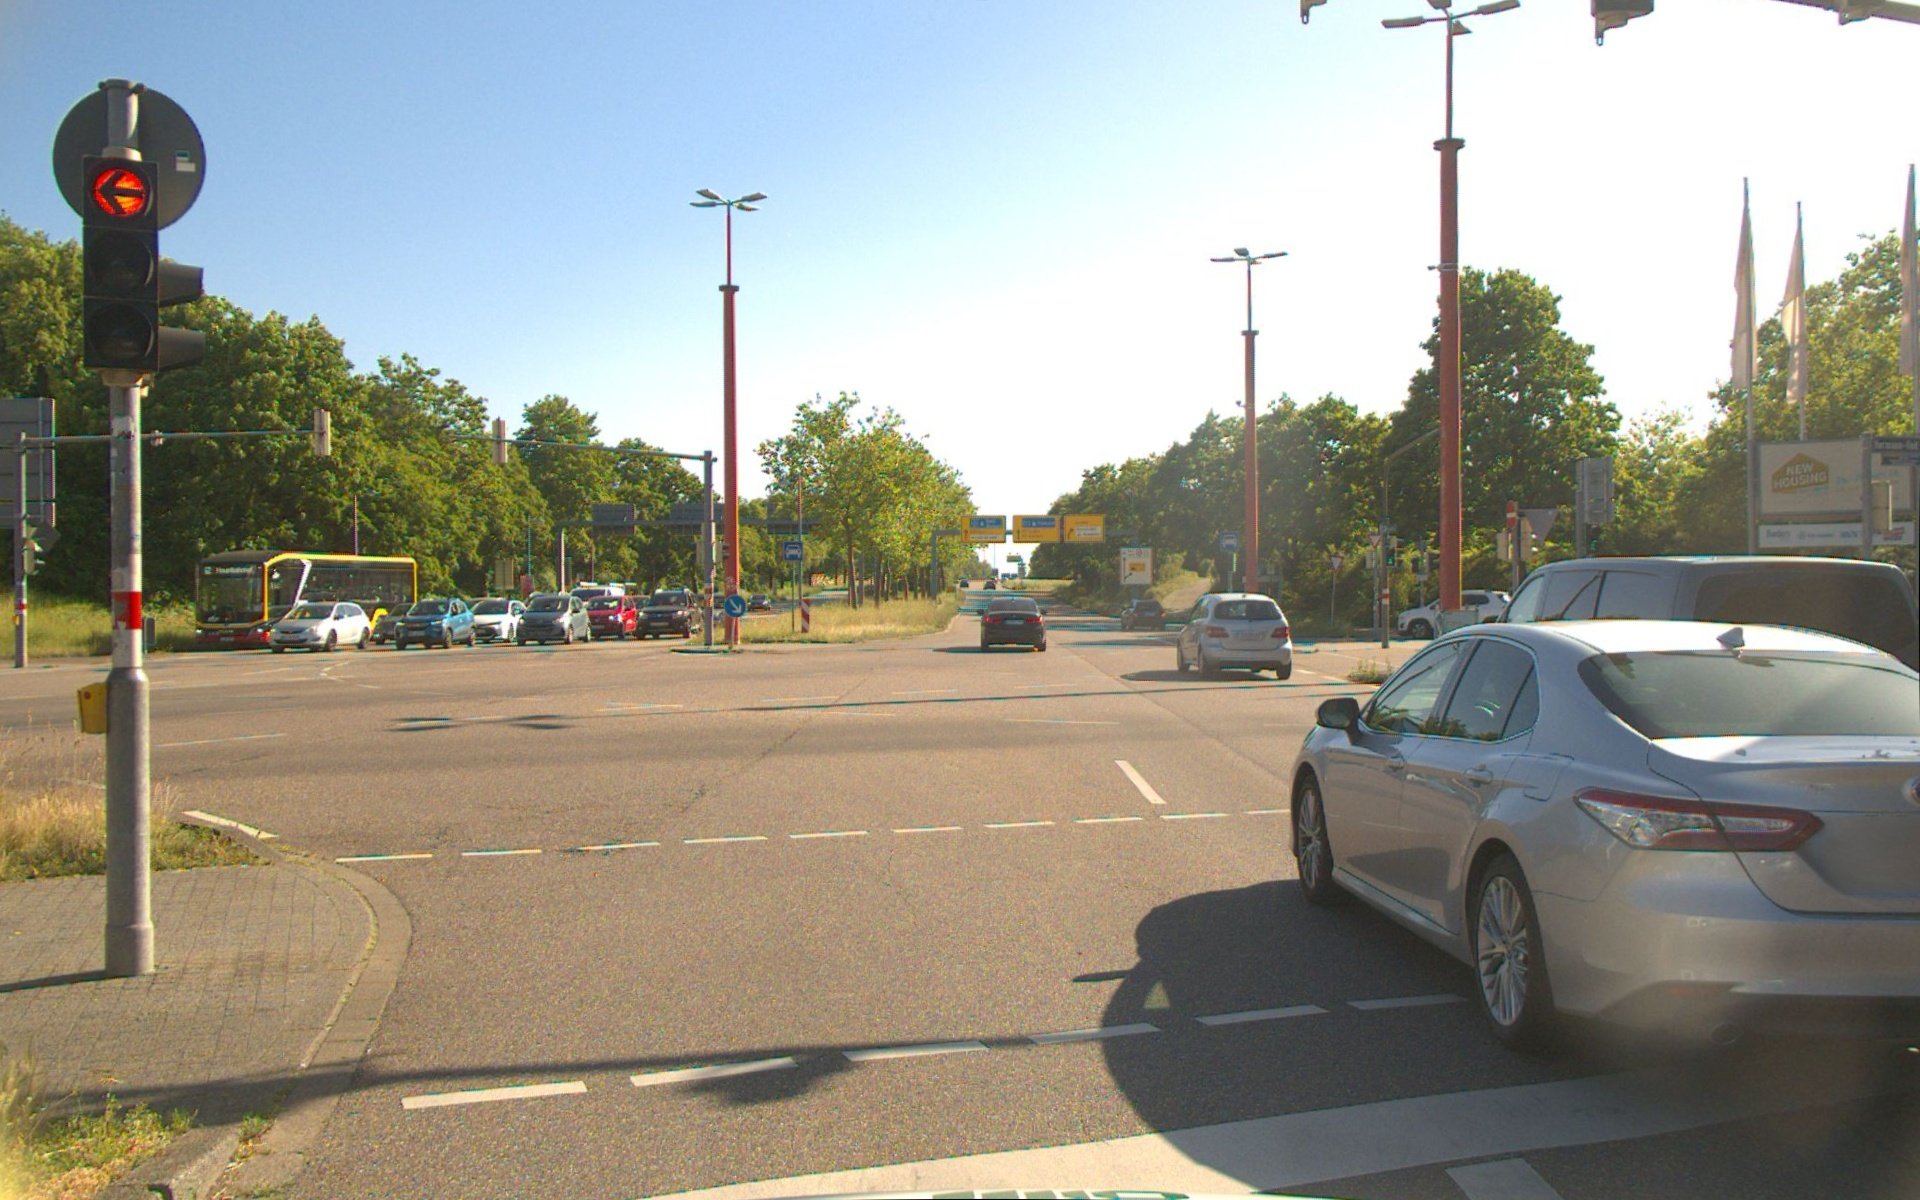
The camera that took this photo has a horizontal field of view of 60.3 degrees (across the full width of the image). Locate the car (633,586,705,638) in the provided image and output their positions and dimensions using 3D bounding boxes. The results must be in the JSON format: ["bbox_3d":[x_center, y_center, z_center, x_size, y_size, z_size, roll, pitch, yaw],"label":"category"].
[{"bbox_3d":[-9.840,0.384,56.203,1.757,1.654,4.142,-2,0,-2],"label":"car"}]

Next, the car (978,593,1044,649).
[{"bbox_3d":[1.386,0.565,46.339,1.728,1.466,4.294,1,0,0],"label":"car"}]

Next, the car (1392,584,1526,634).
[{"bbox_3d":[17.393,0.311,57.679,4.201,1.664,1.767,0,0,27],"label":"car"}]

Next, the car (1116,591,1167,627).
[{"bbox_3d":[8.698,0.439,79.604,1.729,1.664,4.295,1,0,-4],"label":"car"}]

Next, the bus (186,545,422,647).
[{"bbox_3d":[-23.608,-0.097,60.598,2.590,3.318,12.543,1,0,5],"label":"bus"}]

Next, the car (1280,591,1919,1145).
[{"bbox_3d":[2.743,0.741,6.936,1.768,1.519,4.681,1,0,-2],"label":"car"}]

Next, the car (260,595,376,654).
[{"bbox_3d":[-19.544,0.736,50.532,1.838,1.681,4.219,-1,0,0],"label":"car"}]

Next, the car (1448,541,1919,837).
[{"bbox_3d":[5.553,0.557,13.177,1.767,1.884,5.102,-1,0,0],"label":"car"}]

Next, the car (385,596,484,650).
[{"bbox_3d":[-16.106,0.681,50.868,1.764,1.542,3.858,-2,0,0],"label":"car"}]

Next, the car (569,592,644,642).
[{"bbox_3d":[-12.448,0.581,58.422,1.838,1.579,3.998,-3,0,-2],"label":"car"}]

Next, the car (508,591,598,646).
[{"bbox_3d":[-12.771,0.550,52.080,1.836,1.577,4.027,-2,1,-1],"label":"car"}]

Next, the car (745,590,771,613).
[{"bbox_3d":[-18.144,0.126,148.531,1.881,2.034,4.602,0,0,-1],"label":"car"}]

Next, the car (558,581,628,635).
[{"bbox_3d":[-15.623,0.328,70.578,1.922,2.193,5.080,-1,0,-1],"label":"car"}]

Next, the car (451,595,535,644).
[{"bbox_3d":[-16.034,0.662,57.019,1.863,1.582,3.998,-1,0,-2],"label":"car"}]

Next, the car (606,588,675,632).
[{"bbox_3d":[-12.407,0.365,64.423,1.862,1.658,4.000,0,0,1],"label":"car"}]

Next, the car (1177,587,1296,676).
[{"bbox_3d":[5.441,0.598,32.980,1.681,1.636,3.846,1,0,-1],"label":"car"}]

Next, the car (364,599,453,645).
[{"bbox_3d":[-19.890,0.773,59.785,1.846,1.539,4.000,-1,0,0],"label":"car"}]

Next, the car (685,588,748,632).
[{"bbox_3d":[-9.352,0.373,63.689,1.847,1.570,3.999,-2,0,-1],"label":"car"}]
